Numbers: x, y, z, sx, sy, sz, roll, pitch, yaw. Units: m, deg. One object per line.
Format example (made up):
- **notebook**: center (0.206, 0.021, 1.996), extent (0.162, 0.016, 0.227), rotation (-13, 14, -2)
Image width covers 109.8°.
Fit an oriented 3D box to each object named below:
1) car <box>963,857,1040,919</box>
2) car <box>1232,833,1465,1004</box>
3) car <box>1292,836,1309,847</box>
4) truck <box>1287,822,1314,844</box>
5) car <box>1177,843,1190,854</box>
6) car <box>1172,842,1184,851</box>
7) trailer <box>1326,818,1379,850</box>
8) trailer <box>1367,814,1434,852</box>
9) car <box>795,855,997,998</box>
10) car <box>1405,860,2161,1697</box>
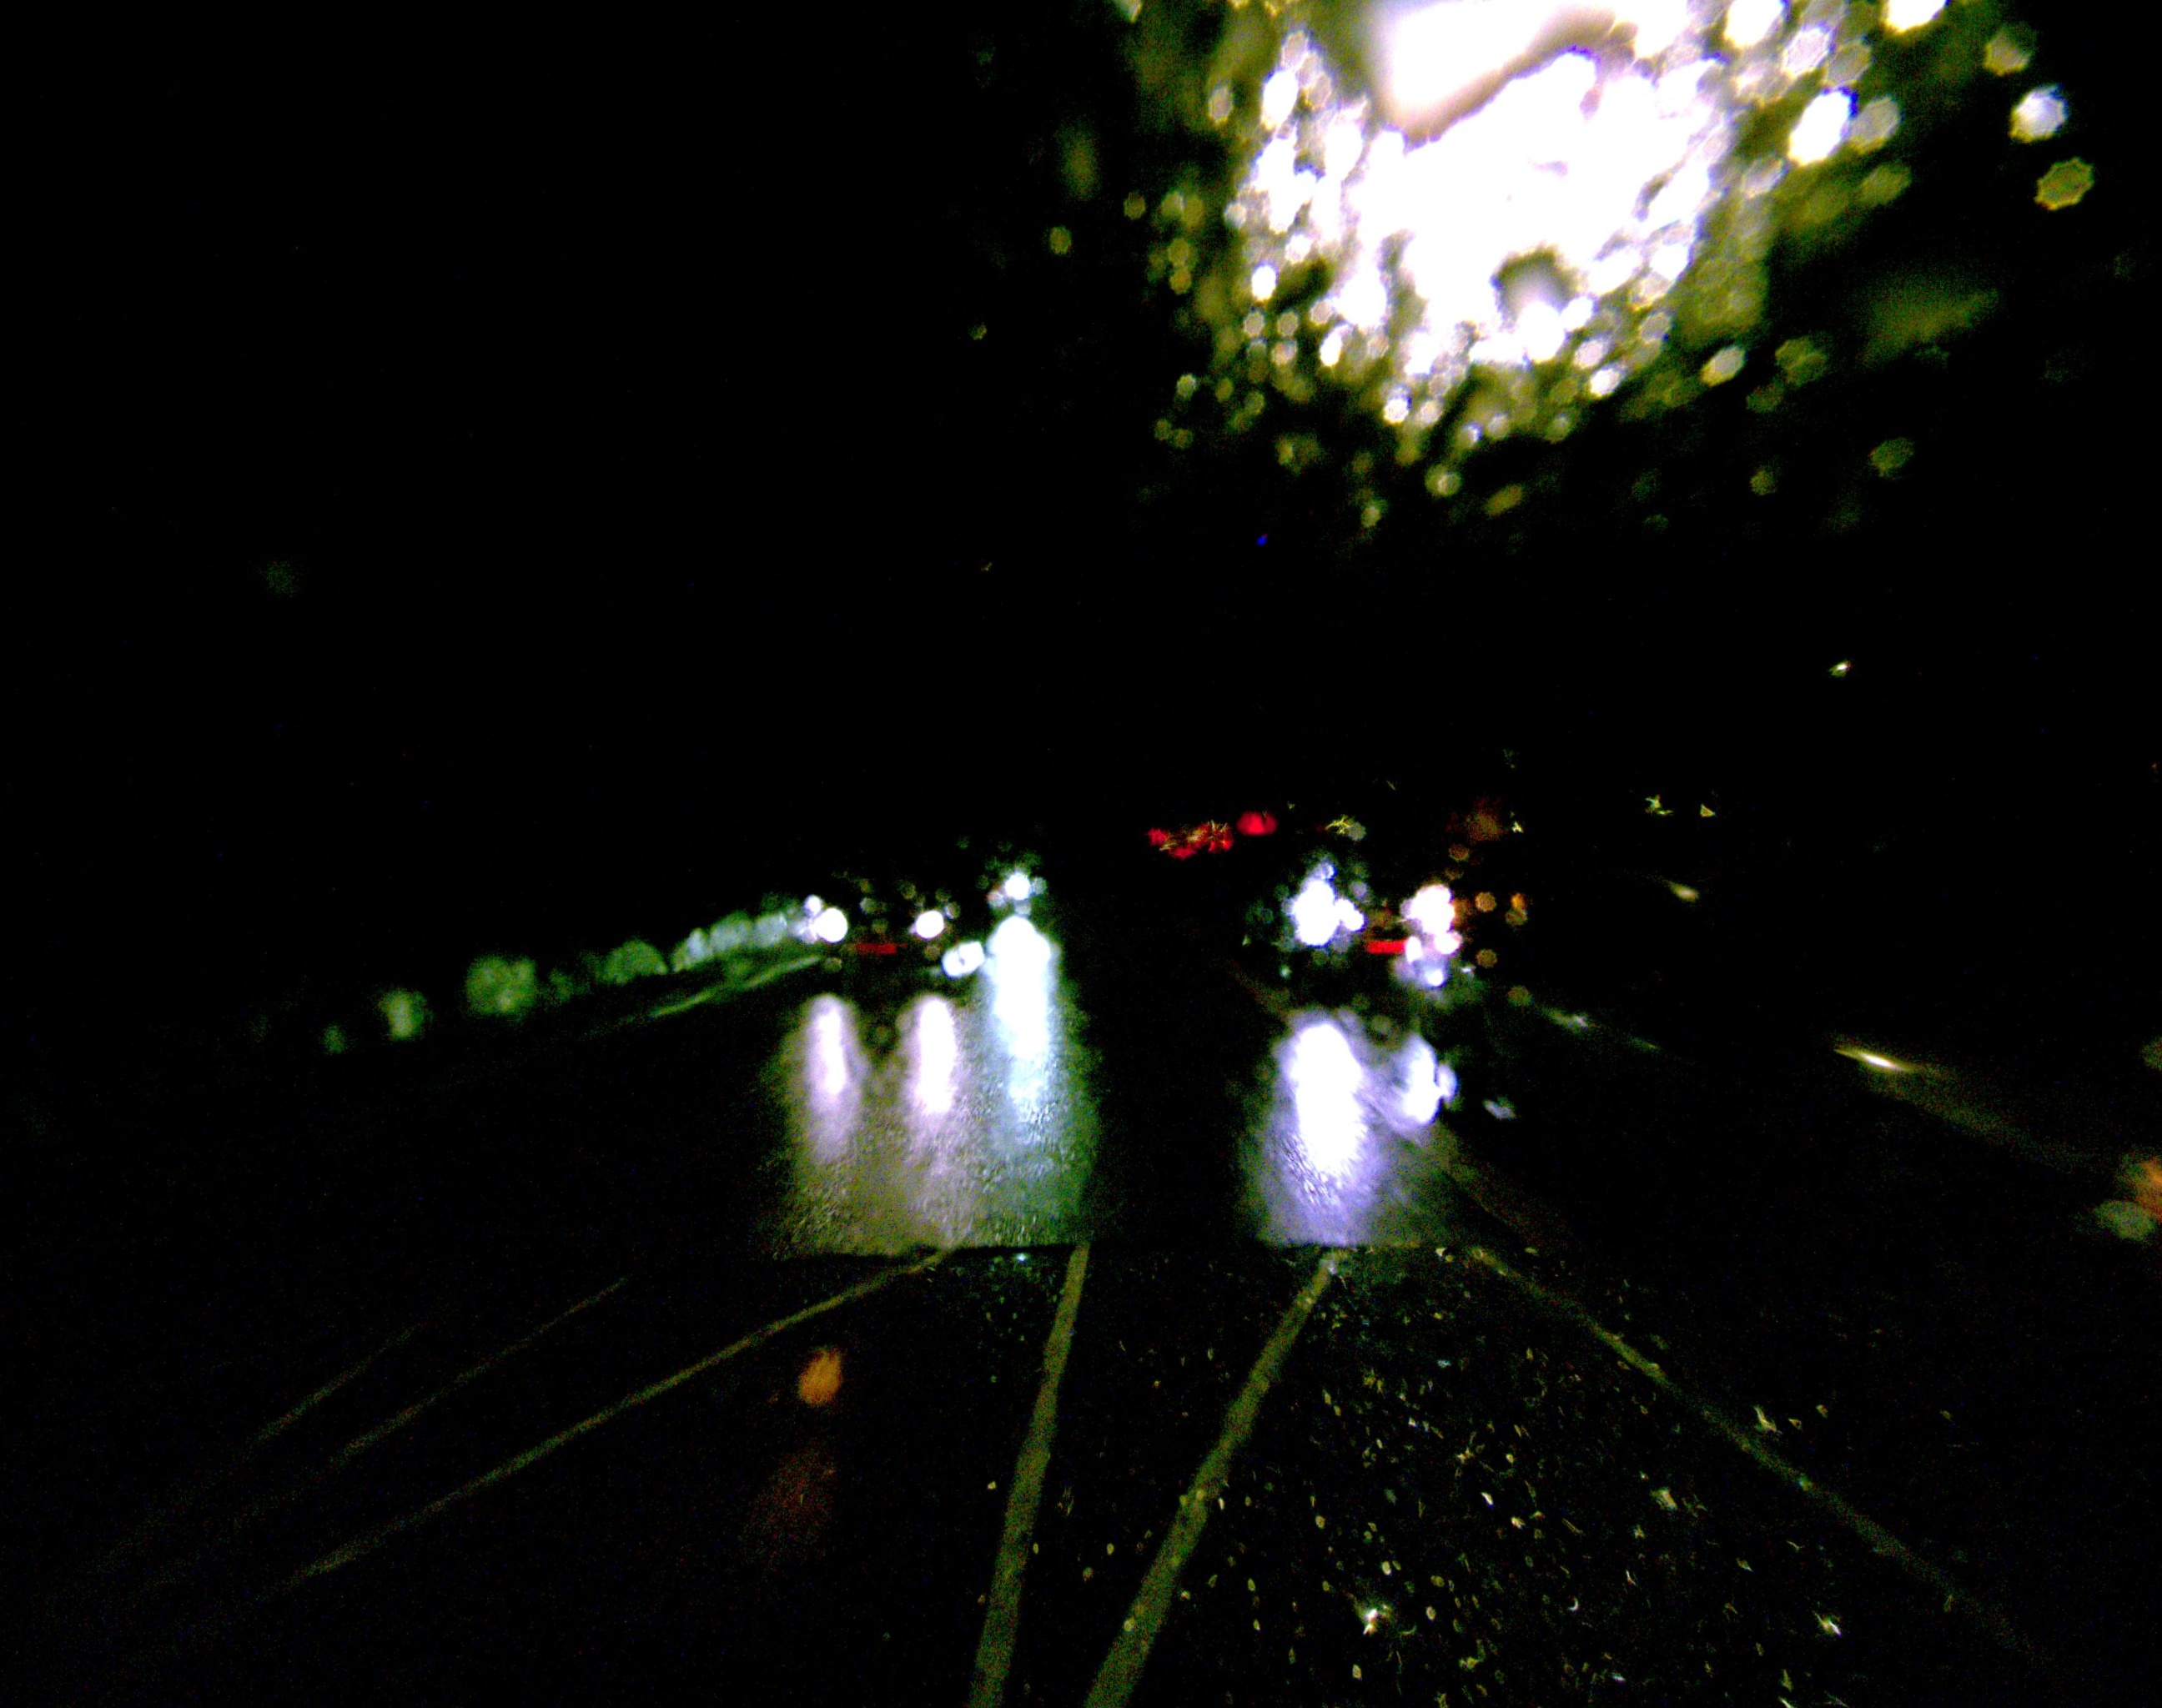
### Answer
- **car**: center (-2.354, 0.959, 23.642), extent (1.788, 1.638, 4.436), rotation (-3, 0, 1)
- **car**: center (3.268, 0.676, 10.255), extent (1.788, 1.772, 4.437), rotation (-2, 0, 4)
- **car**: center (37.720, -2.160, 130.548), extent (1.790, 1.684, 4.219), rotation (-4, 0, 4)
- **truck**: center (49.183, -4.683, 170.493), extent (3.446, 4.584, 10.213), rotation (-6, 1, 5)
- **car**: center (17.270, -0.914, 128.223), extent (1.765, 1.632, 4.652), rotation (-3, 0, 2)
- **car**: center (18.920, -1.516, 148.507), extent (1.806, 1.579, 4.031), rotation (-3, 1, 2)
- **trailer**: center (45.276, -3.396, 127.450), extent (3.980, 4.584, 15.516), rotation (-6, 1, 5)
- **trailer**: center (44.088, -2.887, 105.458), extent (3.980, 4.584, 14.248), rotation (-6, 1, 5)
- **car**: center (-2.524, 0.900, 11.514), extent (1.790, 1.684, 4.219), rotation (-2, 0, 3)
- **car**: center (2.999, 0.824, 2.901), extent (1.788, 1.502, 4.436), rotation (-1, 0, 3)
